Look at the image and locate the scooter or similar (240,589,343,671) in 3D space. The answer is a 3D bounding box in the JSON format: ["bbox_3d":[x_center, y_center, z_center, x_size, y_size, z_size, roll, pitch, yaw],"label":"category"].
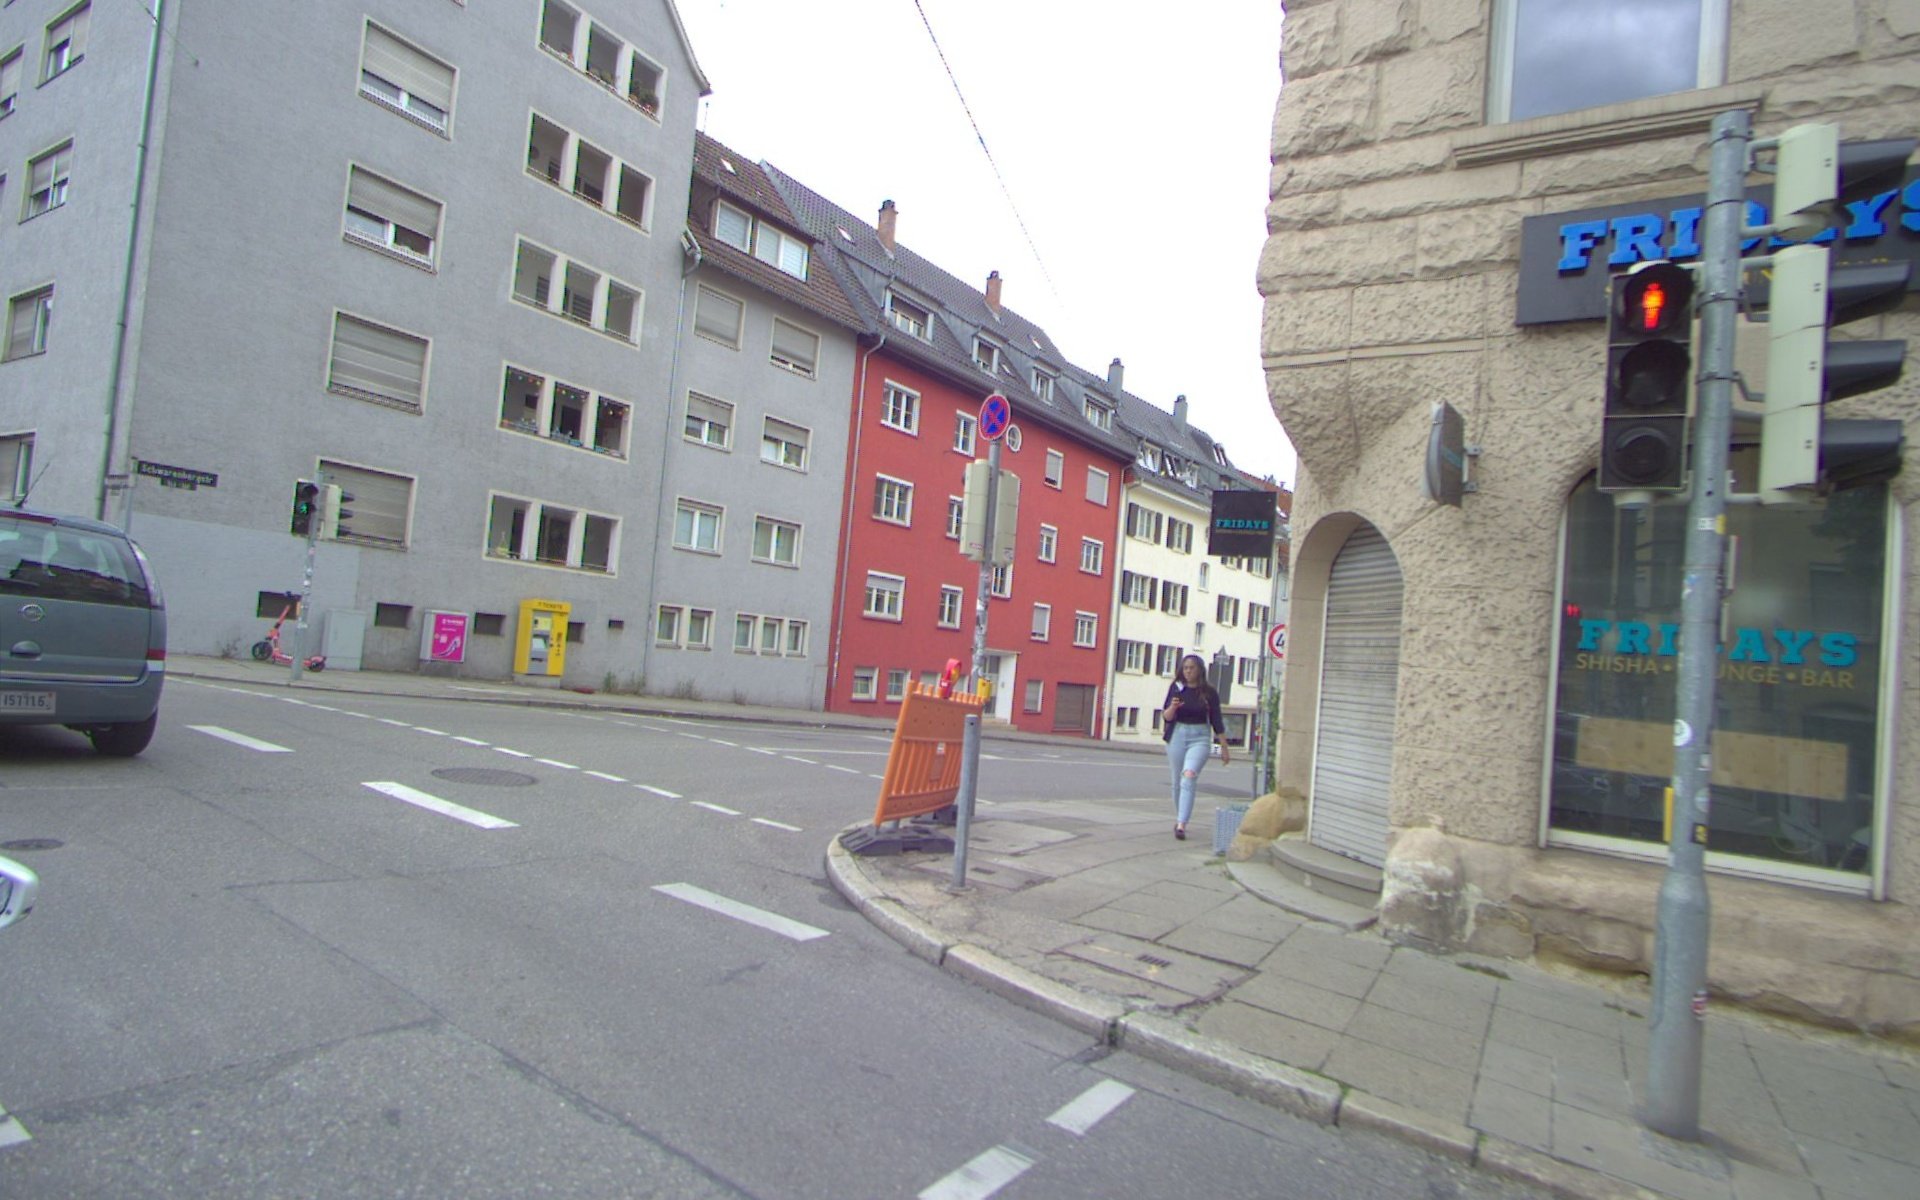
[{"bbox_3d":[-11.607,0.531,17.515,1.240,1.229,0.598,9,-3,-22],"label":"scooter or similar"}]

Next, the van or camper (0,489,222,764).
[{"bbox_3d":[-7.008,0.004,6.922,3.585,1.595,1.740,7,-3,32],"label":"van or camper"}]

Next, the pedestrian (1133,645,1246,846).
[{"bbox_3d":[2.167,1.327,9.397,0.721,1.666,1.006,8,-2,19],"label":"pedestrian"}]
